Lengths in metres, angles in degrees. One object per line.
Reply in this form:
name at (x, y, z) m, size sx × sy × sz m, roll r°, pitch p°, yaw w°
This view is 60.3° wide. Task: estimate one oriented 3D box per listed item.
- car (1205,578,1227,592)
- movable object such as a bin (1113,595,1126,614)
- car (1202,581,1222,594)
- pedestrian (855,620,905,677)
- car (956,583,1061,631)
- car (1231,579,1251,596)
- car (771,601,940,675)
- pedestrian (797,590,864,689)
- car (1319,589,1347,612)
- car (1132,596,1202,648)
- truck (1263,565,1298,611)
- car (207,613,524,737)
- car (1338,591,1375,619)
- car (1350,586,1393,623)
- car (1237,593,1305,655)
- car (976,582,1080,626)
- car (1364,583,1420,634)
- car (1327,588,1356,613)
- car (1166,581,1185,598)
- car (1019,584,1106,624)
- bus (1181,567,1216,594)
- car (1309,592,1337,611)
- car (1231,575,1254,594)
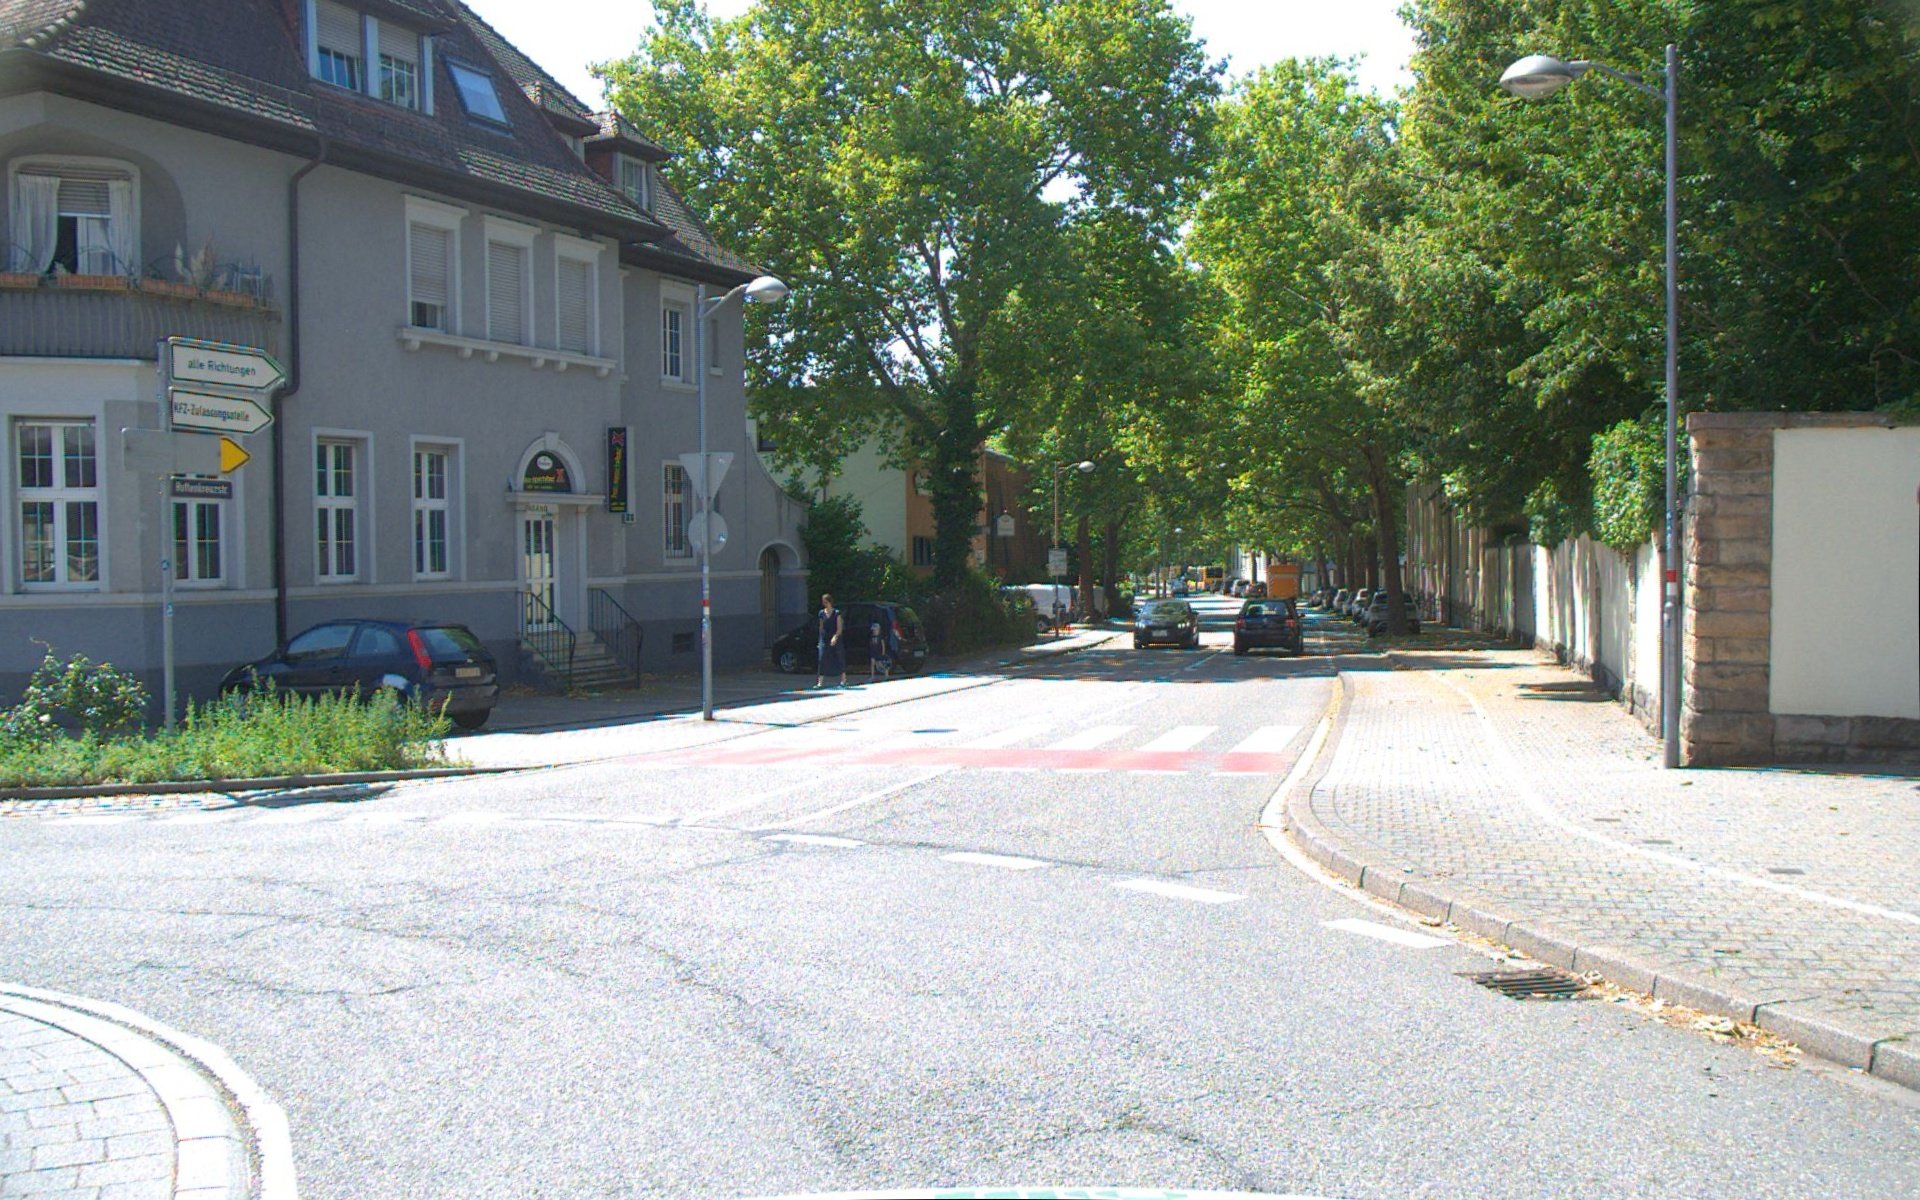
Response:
car at (28.515, -1.679, 184.335) m, size 1.731 × 1.398 × 3.729 m, roll -2°, pitch 0°, yaw -1°
movable object such as a bin at (9.431, 0.266, 97.948) m, size 0.610 × 1.066 × 0.621 m, roll -1°, pitch 0°, yaw 18°
car at (29.337, -1.491, 192.471) m, size 1.730 × 1.398 × 3.729 m, roll -2°, pitch 0°, yaw -1°
pedestrian at (-1.624, 0.983, 33.716) m, size 0.738 × 1.141 × 0.898 m, roll -1°, pitch 0°, yaw 18°
car at (1.943, 0.270, 65.429) m, size 3.902 × 1.824 × 1.870 m, roll 1°, pitch 0°, yaw 9°
car at (29.294, -1.305, 172.607) m, size 1.839 × 1.715 × 4.003 m, roll -1°, pitch -1°, yaw 7°
car at (-2.302, 0.836, 36.615) m, size 3.312 × 1.573 × 1.724 m, roll -1°, pitch 0°, yaw 22°
pedestrian at (-2.384, 0.716, 30.538) m, size 0.853 × 1.773 × 1.113 m, roll -1°, pitch 0°, yaw 18°
car at (26.608, 0.034, 118.045) m, size 1.729 × 1.491 × 3.879 m, roll -2°, pitch 0°, yaw 10°
car at (6.330, 0.635, 50.151) m, size 1.731 × 1.451 × 4.396 m, roll -1°, pitch 0°, yaw 12°
truck at (23.386, -0.809, 120.781) m, size 2.320 × 3.189 × 5.774 m, roll -1°, pitch -1°, yaw 10°
car at (-7.808, 0.959, 21.734) m, size 3.703 × 1.486 × 1.724 m, roll -1°, pitch 0°, yaw 22°
car at (21.871, 0.277, 91.367) m, size 1.729 × 1.458 × 3.879 m, roll -2°, pitch 0°, yaw 10°
car at (20.134, 0.201, 81.112) m, size 1.769 × 1.718 × 4.756 m, roll -2°, pitch 0°, yaw 11°
car at (8.257, 0.598, 43.725) m, size 1.674 × 1.472 × 4.062 m, roll -1°, pitch 1°, yaw 12°
car at (2.995, 0.157, 72.334) m, size 4.329 × 1.836 × 1.905 m, roll 1°, pitch 0°, yaw 9°
car at (15.107, 0.275, 57.985) m, size 1.704 × 1.584 × 4.784 m, roll -3°, pitch 1°, yaw 13°
car at (24.316, 0.030, 105.459) m, size 1.543 × 1.491 × 3.879 m, roll -2°, pitch 0°, yaw 10°
car at (23.611, -1.142, 181.419) m, size 1.951 × 1.695 × 4.002 m, roll -1°, pitch -1°, yaw 6°
car at (4.995, 0.173, 80.265) m, size 4.040 × 1.836 × 1.905 m, roll 1°, pitch 0°, yaw 9°
bus at (29.924, -2.399, 208.290) m, size 2.609 × 3.205 × 11.195 m, roll -1°, pitch 0°, yaw -1°
car at (27.784, 0.097, 126.623) m, size 1.729 × 1.398 × 3.733 m, roll -2°, pitch 0°, yaw 7°
car at (28.287, -1.523, 165.527) m, size 1.840 × 1.715 × 4.002 m, roll -1°, pitch -1°, yaw 4°
